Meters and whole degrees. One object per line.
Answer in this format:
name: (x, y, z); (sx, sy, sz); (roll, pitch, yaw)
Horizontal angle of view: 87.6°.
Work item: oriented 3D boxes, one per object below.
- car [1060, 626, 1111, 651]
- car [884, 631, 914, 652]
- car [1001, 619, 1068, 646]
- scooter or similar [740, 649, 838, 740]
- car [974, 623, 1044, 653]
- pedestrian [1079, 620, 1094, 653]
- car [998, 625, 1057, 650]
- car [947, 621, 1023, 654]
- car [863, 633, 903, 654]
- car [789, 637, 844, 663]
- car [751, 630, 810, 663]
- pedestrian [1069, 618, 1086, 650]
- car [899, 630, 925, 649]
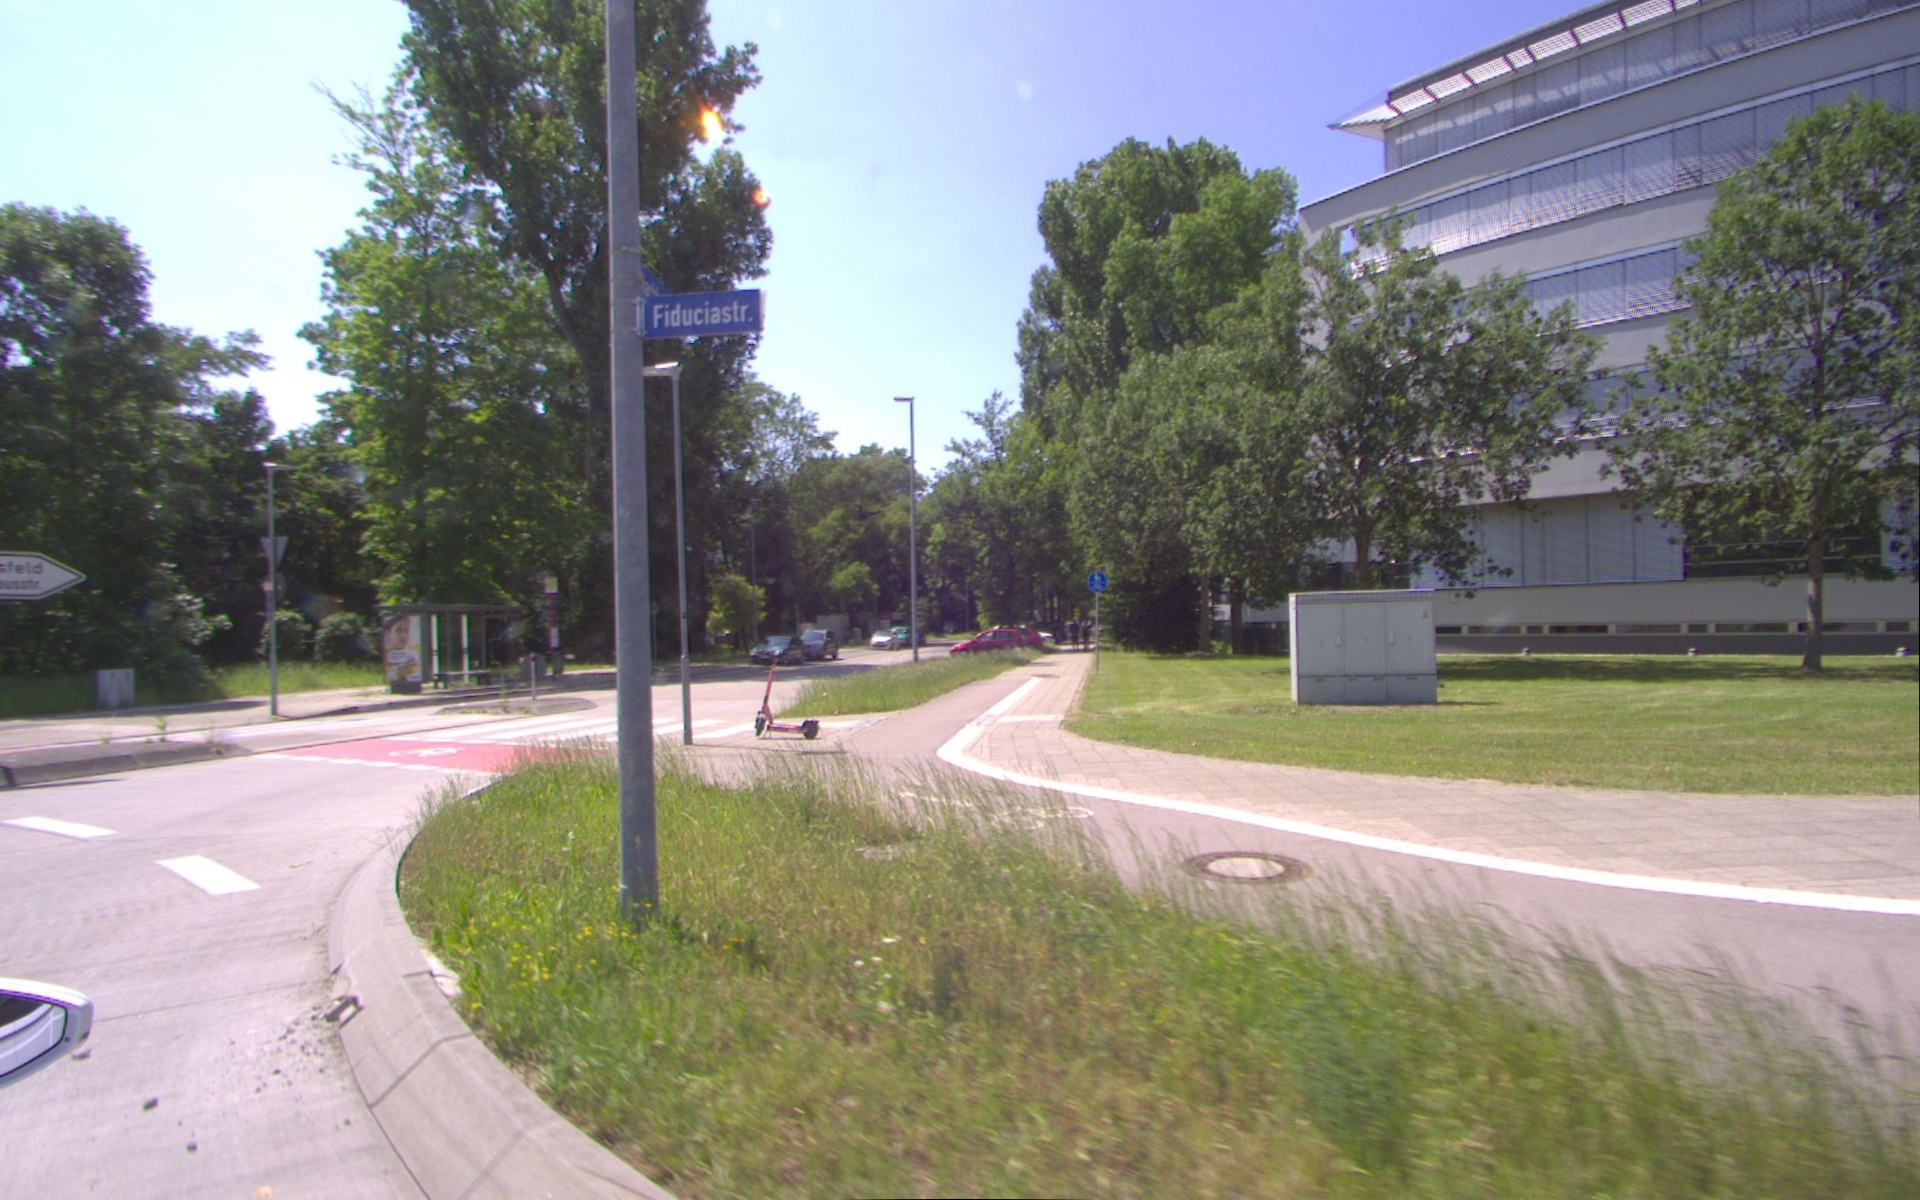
car: (10.831, 3.305, 86.592); (3.953, 2.039, 1.986); (-3, -3, 39)
car: (-4.759, 3.246, 78.727); (1.703, 1.563, 3.446); (-2, -2, 7)
car: (6.034, 2.624, 80.453); (5.213, 2.010, 1.760); (-2, -2, 8)
scooter or similar: (-2.394, 1.302, 13.964); (1.379, 1.217, 0.446); (-2, -2, 32)
car: (2.651, 2.025, 53.781); (3.613, 1.502, 1.870); (-1, -2, 4)
pedestrian: (6.459, 1.854, 51.029); (0.479, 1.637, 0.585); (0, -2, -31)
car: (4.299, 2.405, 63.716); (3.613, 1.502, 1.870); (-1, -2, 4)
car: (1.240, 1.858, 49.054); (3.613, 1.502, 1.870); (-1, -2, 4)
car: (-5.697, 3.217, 74.435); (1.962, 1.488, 4.000); (-2, -2, 10)
car: (-7.911, 2.767, 55.560); (1.962, 1.326, 4.001); (-2, -2, 8)
car: (-8.827, 2.285, 49.488); (1.670, 1.505, 4.001); (1, -2, 8)
pedestrian: (6.055, 1.760, 51.514); (0.635, 1.628, 0.570); (0, -2, -30)
car: (-4.048, 3.350, 84.639); (1.702, 1.513, 3.446); (-1, -1, 5)
